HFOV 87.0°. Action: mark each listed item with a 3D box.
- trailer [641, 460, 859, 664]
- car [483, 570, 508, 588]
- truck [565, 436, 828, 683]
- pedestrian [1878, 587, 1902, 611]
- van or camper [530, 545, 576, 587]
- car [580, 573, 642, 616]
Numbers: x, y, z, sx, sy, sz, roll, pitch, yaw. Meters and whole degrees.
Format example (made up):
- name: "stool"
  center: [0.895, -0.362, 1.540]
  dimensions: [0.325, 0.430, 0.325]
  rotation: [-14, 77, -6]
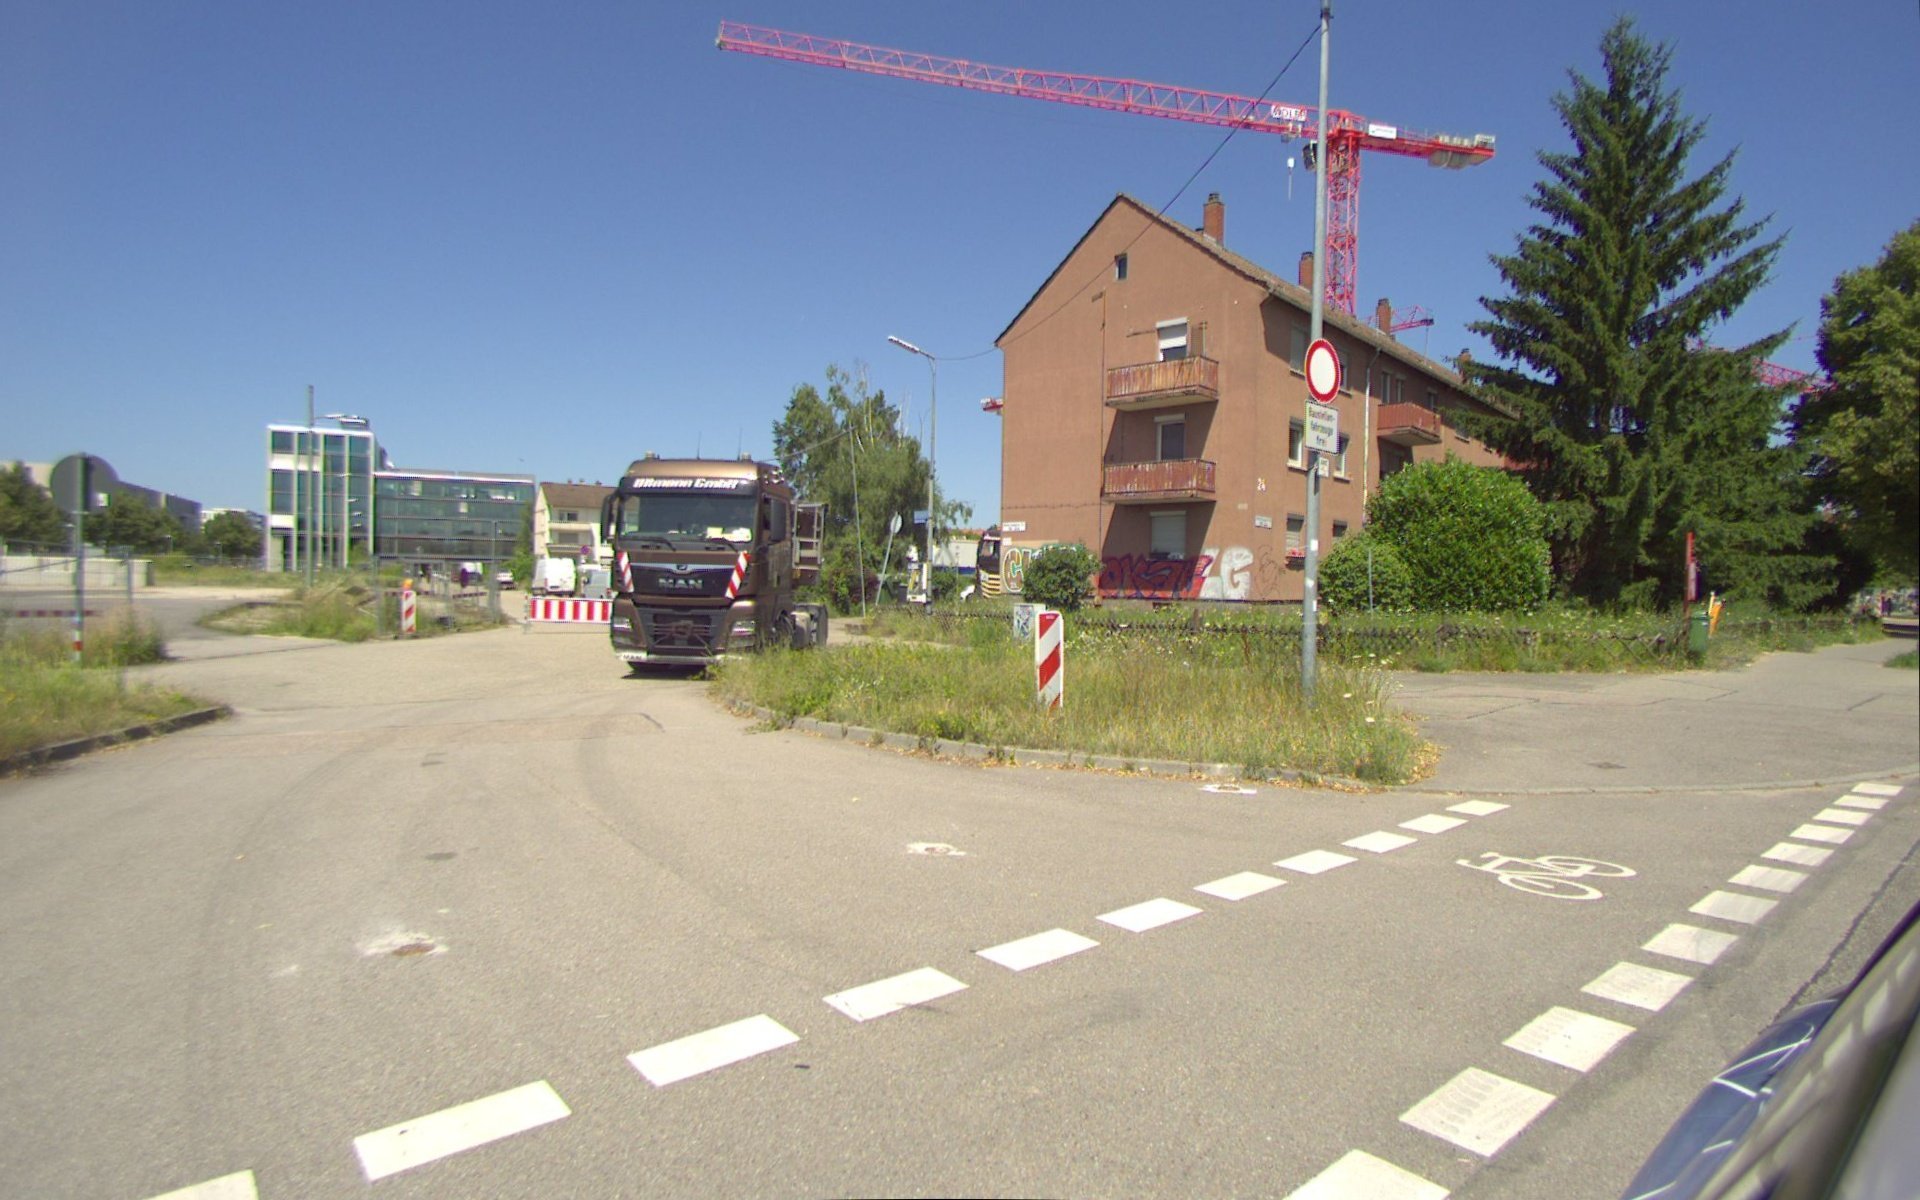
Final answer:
- name: "trailer"
  center: [-5.049, -0.761, 22.452]
  dimensions: [3.098, 3.577, 9.011]
  rotation: [1, 1, -22]
- name: "car"
  center: [-43.544, -1.929, 94.853]
  dimensions: [1.647, 1.606, 3.625]
  rotation: [-1, 1, -31]
- name: "truck"
  center: [-4.209, -0.646, 17.364]
  dimensions: [3.106, 3.577, 4.963]
  rotation: [1, 1, 1]
- name: "pedestrian"
  center: [60.399, -0.068, 65.734]
  dimensions: [0.670, 1.536, 1.023]
  rotation: [0, 1, -40]
- name: "van or camper"
  center: [-27.294, -2.234, 67.688]
  dimensions: [1.891, 2.634, 7.011]
  rotation: [1, 1, -30]
- name: "car"
  center: [-17.876, -0.316, 51.743]
  dimensions: [1.751, 2.039, 4.683]
  rotation: [0, 1, -35]
